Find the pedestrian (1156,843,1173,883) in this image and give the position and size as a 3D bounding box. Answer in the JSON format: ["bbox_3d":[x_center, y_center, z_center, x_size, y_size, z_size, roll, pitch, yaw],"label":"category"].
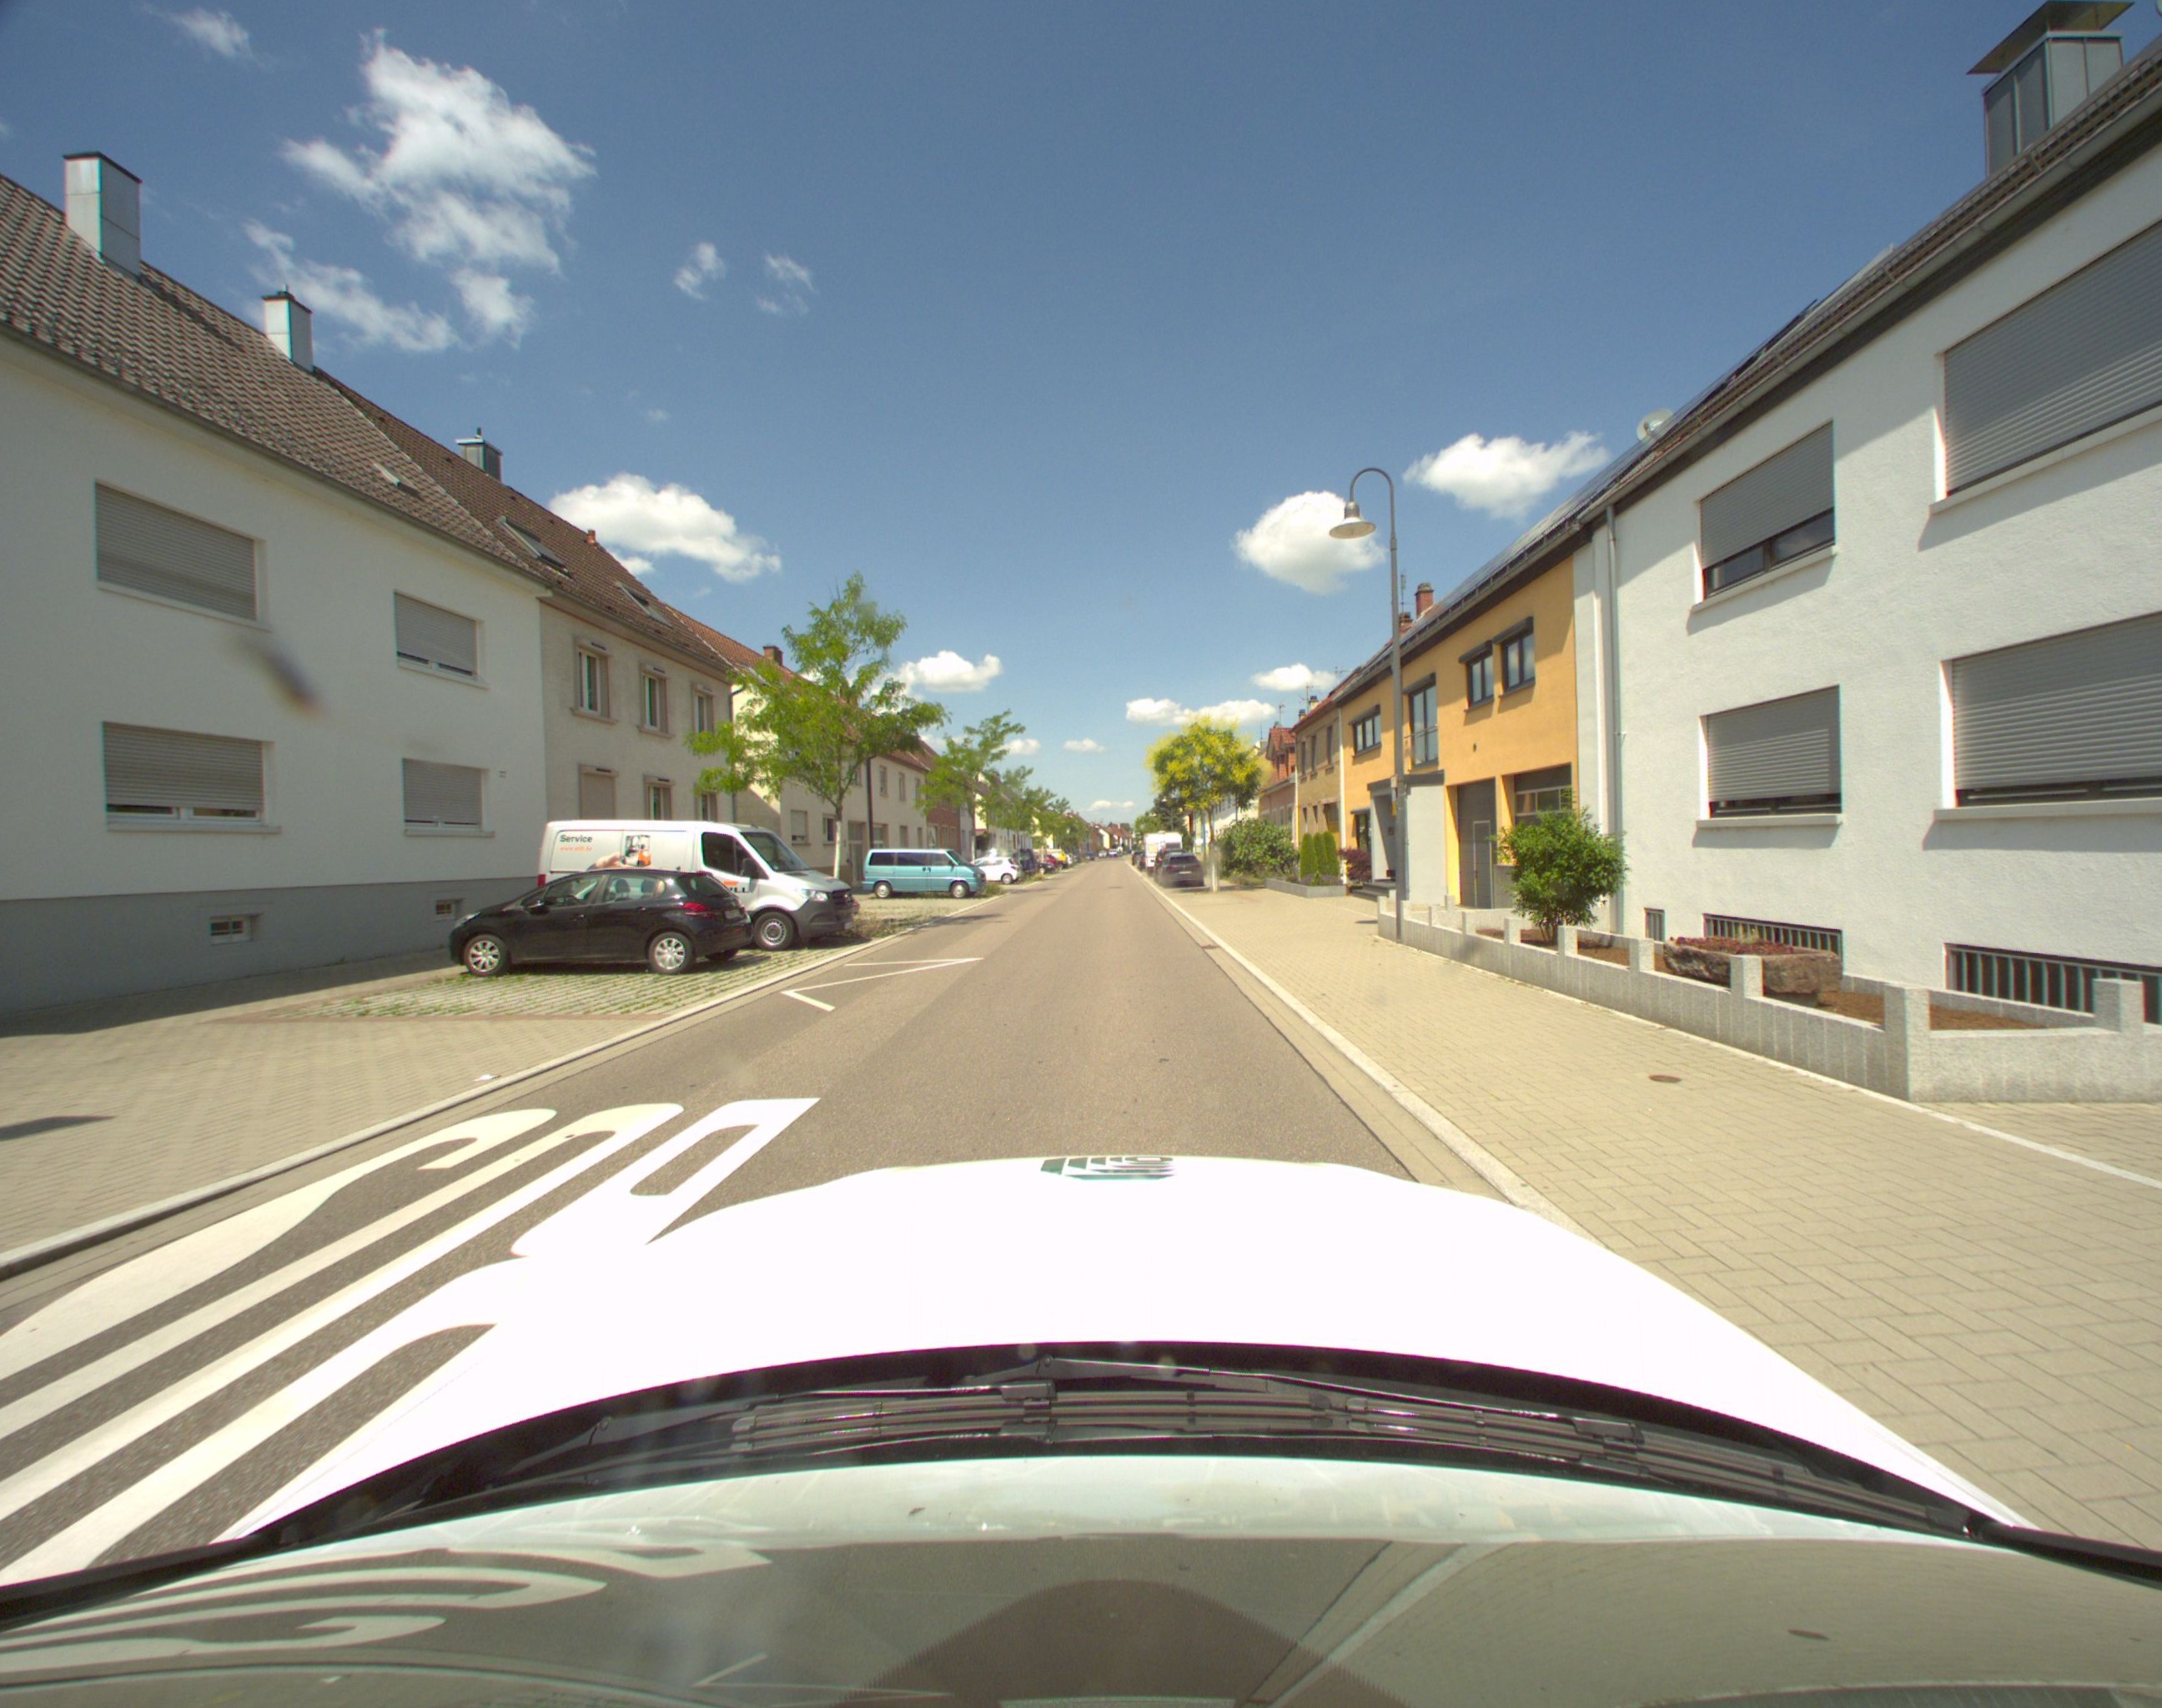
[{"bbox_3d":[3.973,0.414,38.631,0.713,1.853,0.578,-2,0,2],"label":"pedestrian"}]

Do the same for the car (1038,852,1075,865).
[{"bbox_3d":[-2.983,0.558,98.329,4.276,1.468,1.776,-2,-1,4],"label":"car"}]

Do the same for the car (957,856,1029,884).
[{"bbox_3d":[-5.157,0.940,48.084,3.898,1.488,1.775,-1,0,4],"label":"car"}]

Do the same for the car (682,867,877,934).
[{"bbox_3d":[-6.823,1.036,18.665,3.768,1.385,1.727,-1,0,2],"label":"car"}]

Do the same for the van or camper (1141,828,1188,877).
[{"bbox_3d":[5.238,-0.127,51.885,2.463,2.810,5.794,-4,0,2],"label":"van or camper"}]

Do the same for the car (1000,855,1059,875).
[{"bbox_3d":[-4.057,0.887,64.759,4.506,1.425,1.797,-1,0,2],"label":"car"}]

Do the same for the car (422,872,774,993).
[{"bbox_3d":[-6.906,1.087,11.997,3.974,1.445,1.901,-2,0,-1],"label":"car"}]

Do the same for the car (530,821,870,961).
[{"bbox_3d":[-6.744,0.624,14.906,5.149,2.288,2.157,-1,0,0],"label":"car"}]

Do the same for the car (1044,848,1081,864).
[{"bbox_3d":[-2.413,0.267,107.934,4.682,1.923,1.939,-1,-1,2],"label":"car"}]

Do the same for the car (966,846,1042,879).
[{"bbox_3d":[-4.913,0.549,52.361,4.592,1.996,1.955,-1,0,4],"label":"car"}]

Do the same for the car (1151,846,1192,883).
[{"bbox_3d":[4.536,0.508,41.350,1.759,1.705,4.328,-2,0,3],"label":"car"}]

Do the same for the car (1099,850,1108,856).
[{"bbox_3d":[5.604,-0.233,201.770,1.841,1.659,4.006,0,0,5],"label":"car"}]

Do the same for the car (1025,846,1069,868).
[{"bbox_3d":[-3.546,0.278,85.859,4.491,2.177,1.926,-1,0,2],"label":"car"}]

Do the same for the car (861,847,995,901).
[{"bbox_3d":[-5.786,0.750,31.259,4.658,1.906,2.001,-1,-1,2],"label":"car"}]

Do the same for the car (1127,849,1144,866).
[{"bbox_3d":[6.328,0.391,94.173,1.855,1.635,4.452,-5,1,5],"label":"car"}]

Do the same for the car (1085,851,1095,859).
[{"bbox_3d":[1.729,0.127,152.930,1.810,1.433,4.139,1,2,0],"label":"car"}]

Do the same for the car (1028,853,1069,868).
[{"bbox_3d":[-3.282,0.649,83.291,3.994,1.459,1.756,-1,0,2],"label":"car"}]

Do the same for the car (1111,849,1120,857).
[{"bbox_3d":[8.197,-0.207,193.010,2.015,1.950,4.900,-3,0,2],"label":"car"}]

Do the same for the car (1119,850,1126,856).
[{"bbox_3d":[11.276,-0.282,221.306,1.756,1.522,4.050,-4,0,2],"label":"car"}]

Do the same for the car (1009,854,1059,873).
[{"bbox_3d":[-3.928,0.769,68.510,4.041,1.478,1.775,-1,0,-1],"label":"car"}]

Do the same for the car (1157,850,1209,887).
[{"bbox_3d":[4.395,0.593,35.779,1.761,1.488,4.297,-2,0,1],"label":"car"}]

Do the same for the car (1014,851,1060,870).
[{"bbox_3d":[-4.184,0.612,77.888,4.237,1.611,1.843,-1,0,1],"label":"car"}]

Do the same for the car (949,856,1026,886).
[{"bbox_3d":[-5.146,0.932,45.169,3.898,1.488,1.775,-1,0,4],"label":"car"}]

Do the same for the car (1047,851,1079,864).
[{"bbox_3d":[-2.324,0.474,105.194,4.171,1.568,1.773,-1,-1,-2],"label":"car"}]

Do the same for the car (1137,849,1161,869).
[{"bbox_3d":[5.572,0.406,66.733,1.759,1.529,4.010,-2,0,3],"label":"car"}]
